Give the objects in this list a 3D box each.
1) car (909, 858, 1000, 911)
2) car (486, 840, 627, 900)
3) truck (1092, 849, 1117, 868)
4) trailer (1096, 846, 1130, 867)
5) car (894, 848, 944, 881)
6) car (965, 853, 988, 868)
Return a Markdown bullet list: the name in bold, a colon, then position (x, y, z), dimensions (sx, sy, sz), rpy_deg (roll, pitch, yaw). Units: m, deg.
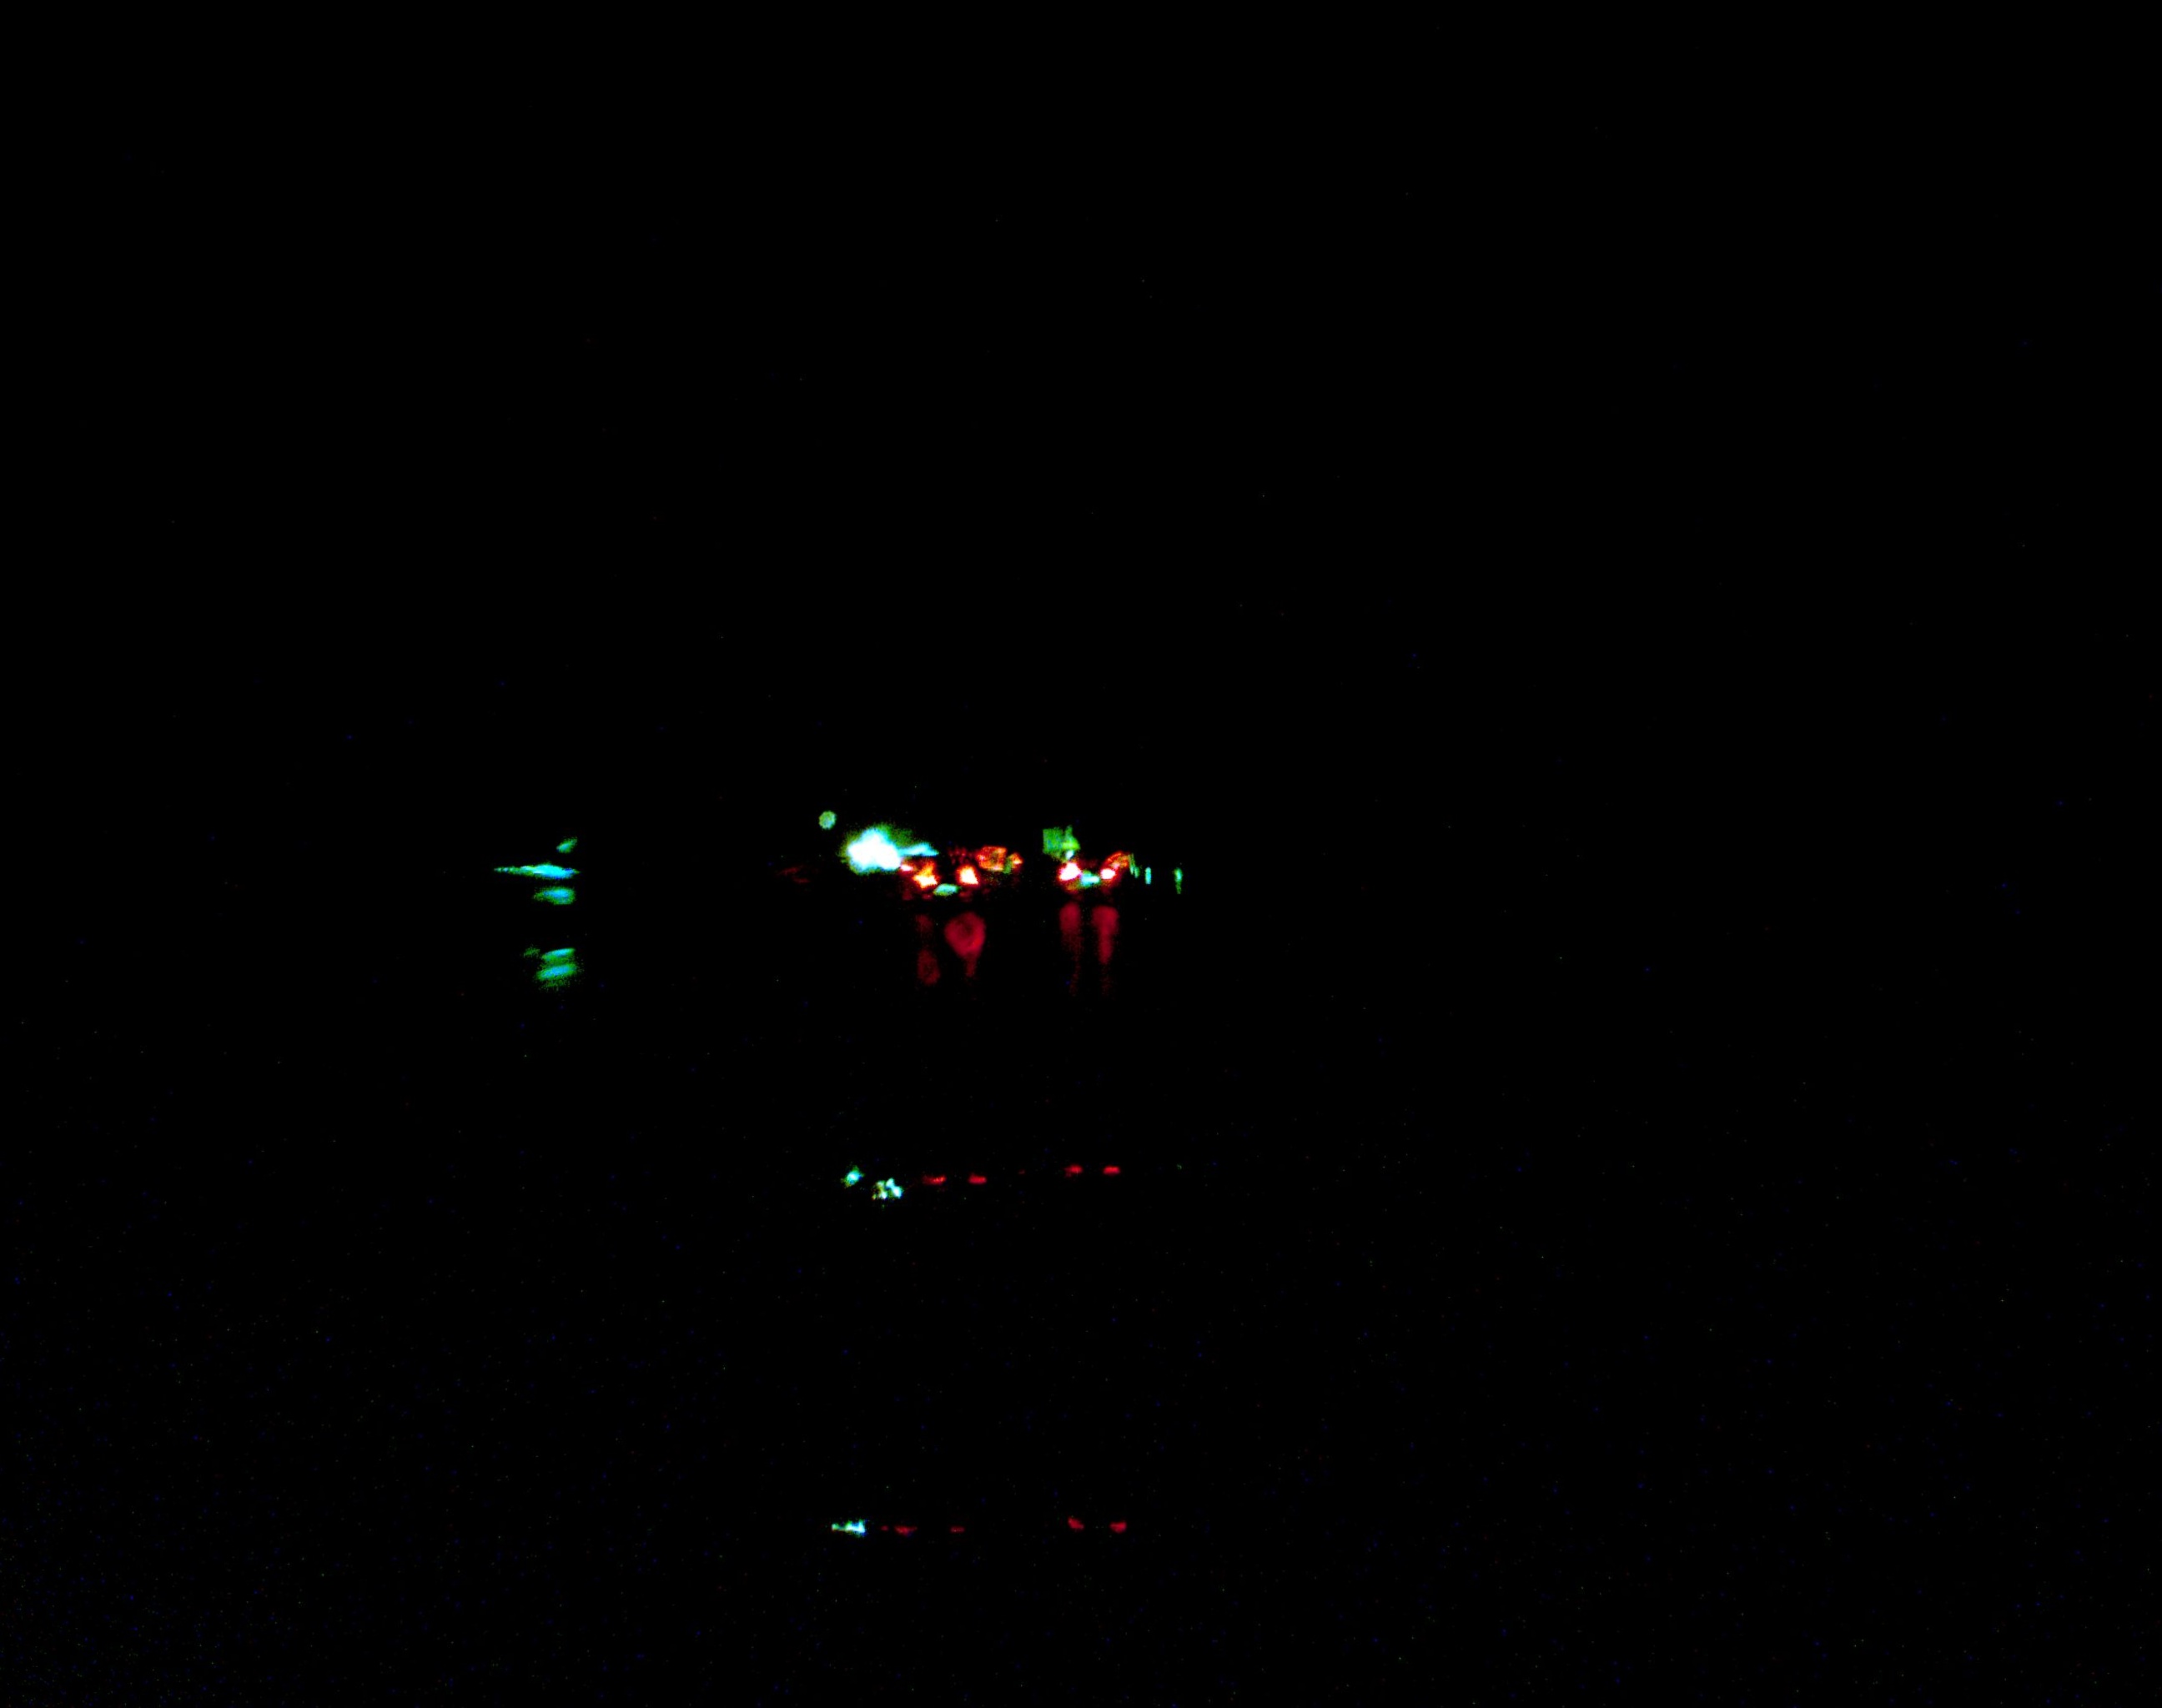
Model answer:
- **car**: position (-3.607, 0.849, 23.956), dimensions (1.955, 1.380, 4.049), rpy_deg (1, -1, 1)
- **car**: position (-18.901, 0.563, 29.681), dimensions (1.987, 2.014, 4.809), rpy_deg (0, -1, 0)
- **truck**: position (2.565, 0.519, 90.657), dimensions (2.068, 2.014, 4.869), rpy_deg (0, -1, -6)
- **trailer**: position (3.162, 0.345, 84.185), dimensions (2.075, 2.014, 10.625), rpy_deg (0, -1, -6)
- **car**: position (-7.855, 0.473, 39.823), dimensions (1.764, 1.517, 4.908), rpy_deg (0, 0, -4)
- **car**: position (-11.730, 0.741, 91.662), dimensions (1.885, 1.550, 4.002), rpy_deg (0, -1, 3)
